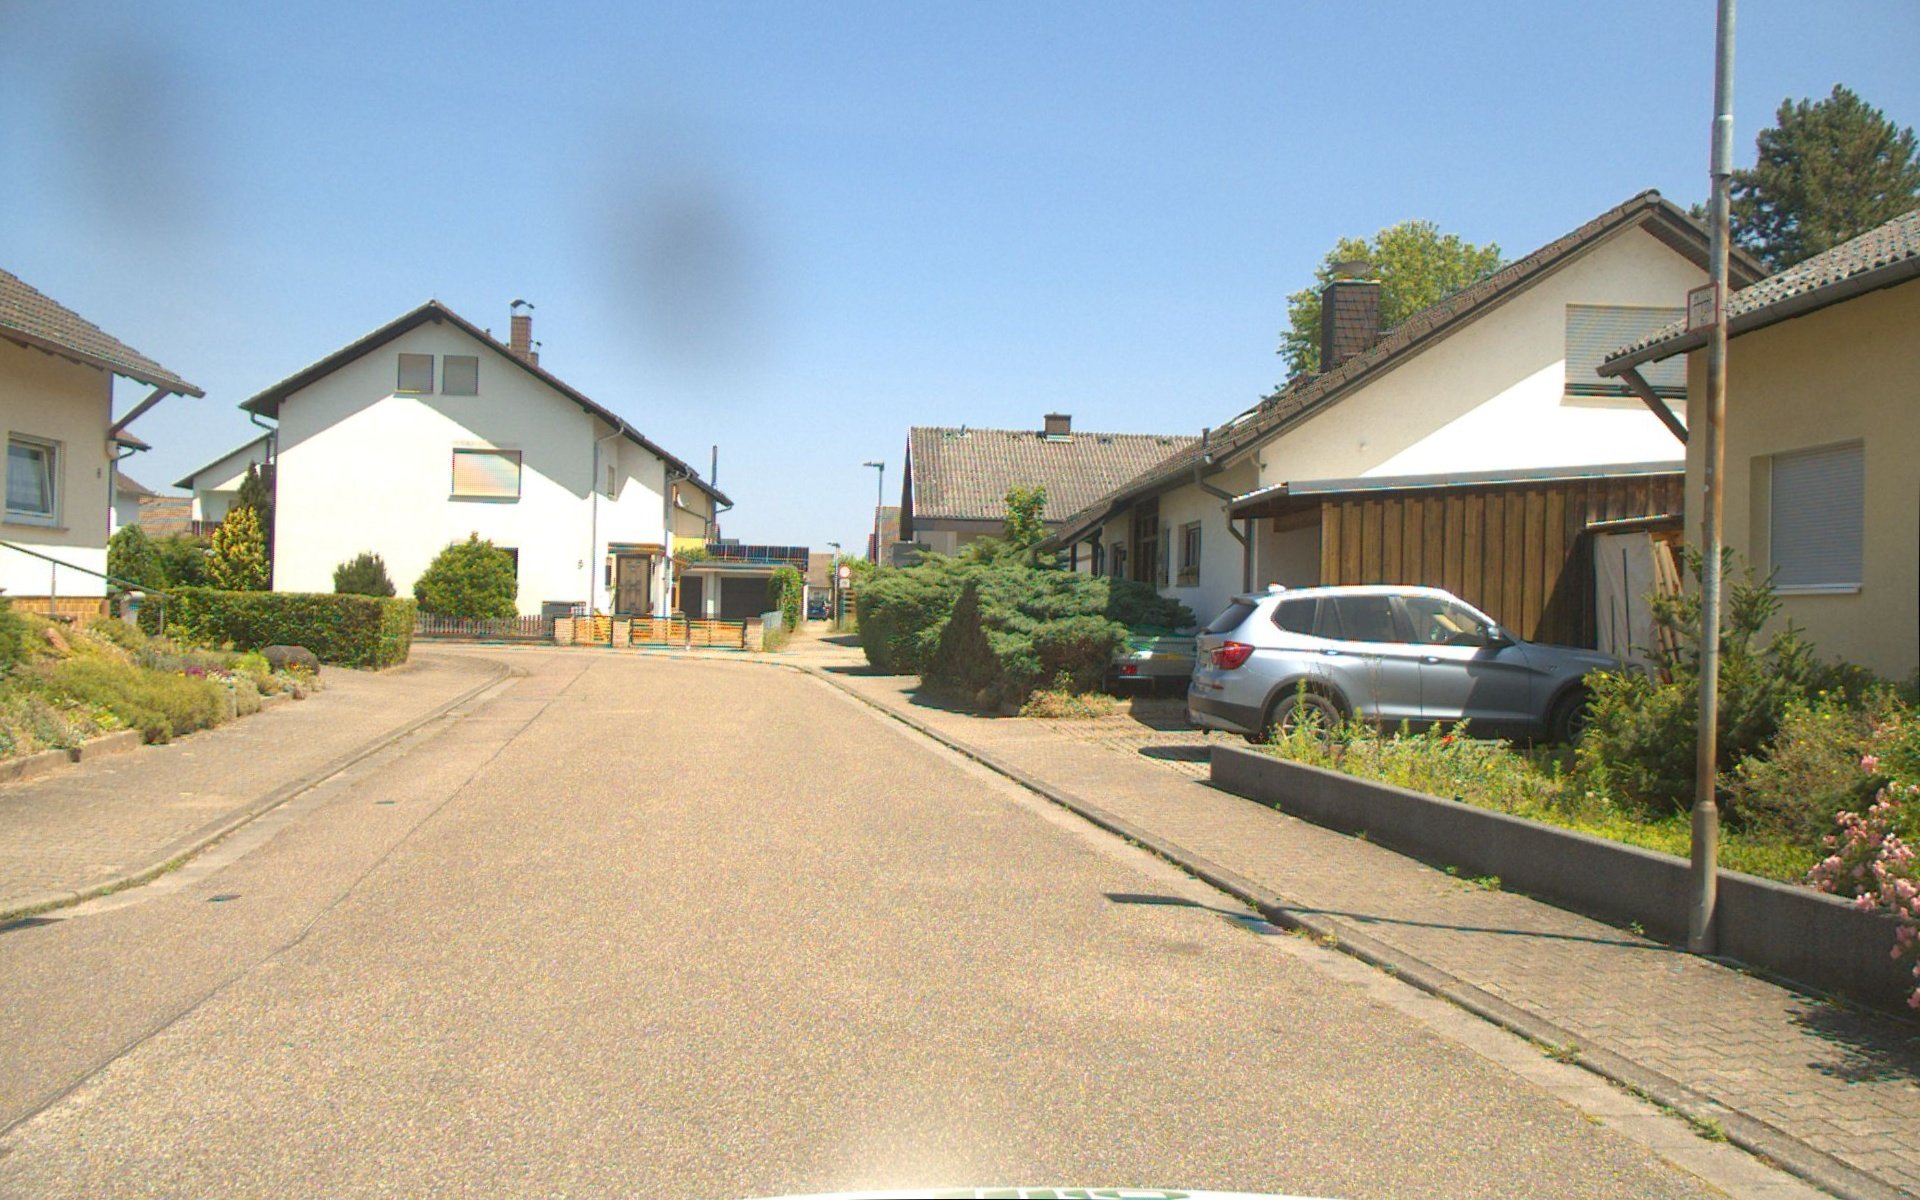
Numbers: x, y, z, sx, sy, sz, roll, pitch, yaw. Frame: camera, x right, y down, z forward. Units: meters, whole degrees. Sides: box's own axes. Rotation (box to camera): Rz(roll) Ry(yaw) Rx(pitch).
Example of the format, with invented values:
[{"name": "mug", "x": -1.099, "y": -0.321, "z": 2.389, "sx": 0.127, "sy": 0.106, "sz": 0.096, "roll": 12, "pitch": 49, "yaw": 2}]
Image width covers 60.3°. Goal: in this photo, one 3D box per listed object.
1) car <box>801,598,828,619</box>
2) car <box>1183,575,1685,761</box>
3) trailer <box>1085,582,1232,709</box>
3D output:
[{"name": "car", "x": -12.448, "y": 0.682, "z": 141.240, "sx": 2.150, "sy": 1.731, "sz": 3.804, "roll": 1, "pitch": 0, "yaw": -3}, {"name": "car", "x": 4.622, "y": 0.646, "z": 16.550, "sx": 4.533, "sy": 1.732, "sz": 1.709, "roll": 0, "pitch": 0, "yaw": -1}, {"name": "trailer", "x": 2.818, "y": 0.602, "z": 24.027, "sx": 1.555, "sy": 1.701, "sz": 3.294, "roll": 0, "pitch": 0, "yaw": -3}]
